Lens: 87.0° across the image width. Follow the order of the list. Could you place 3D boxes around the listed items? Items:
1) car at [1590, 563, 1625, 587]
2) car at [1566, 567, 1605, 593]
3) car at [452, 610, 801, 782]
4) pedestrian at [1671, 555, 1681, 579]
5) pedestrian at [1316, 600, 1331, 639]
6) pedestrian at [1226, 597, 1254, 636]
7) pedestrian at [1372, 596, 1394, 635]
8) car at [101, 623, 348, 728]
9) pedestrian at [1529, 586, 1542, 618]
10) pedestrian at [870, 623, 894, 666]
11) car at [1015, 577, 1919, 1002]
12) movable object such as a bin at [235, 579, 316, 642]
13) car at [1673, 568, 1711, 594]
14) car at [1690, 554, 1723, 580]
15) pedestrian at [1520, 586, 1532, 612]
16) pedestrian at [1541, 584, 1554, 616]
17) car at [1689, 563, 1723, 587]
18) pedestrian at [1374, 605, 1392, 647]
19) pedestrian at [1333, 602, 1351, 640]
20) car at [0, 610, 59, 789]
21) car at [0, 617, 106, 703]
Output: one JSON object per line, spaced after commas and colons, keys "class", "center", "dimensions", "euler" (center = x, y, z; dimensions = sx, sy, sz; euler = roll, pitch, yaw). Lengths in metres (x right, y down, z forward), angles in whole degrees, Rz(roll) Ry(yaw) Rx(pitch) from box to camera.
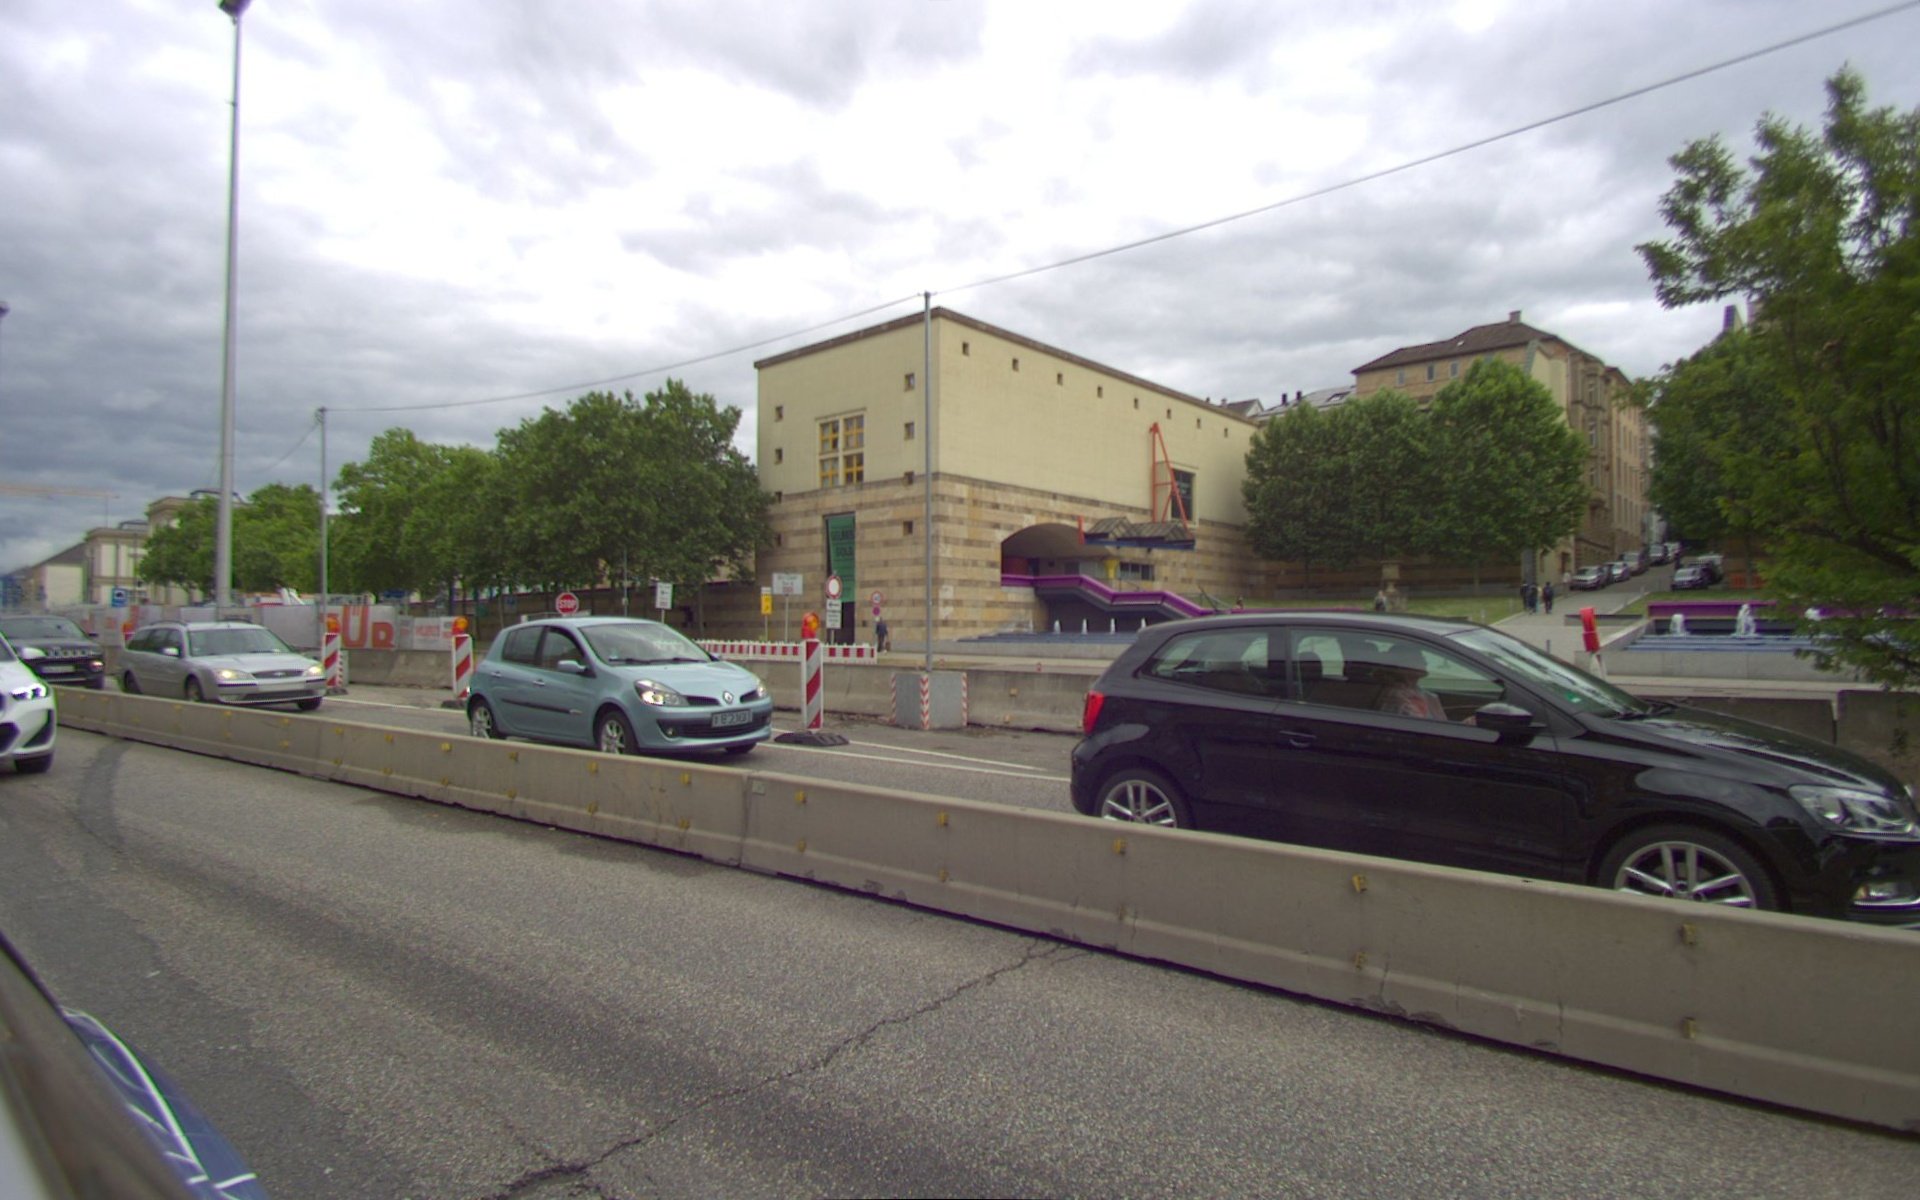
{"class": "car", "center": [50.943, -1.940, 79.583], "dimensions": [1.610, 1.811, 3.753], "euler": [-2, -1, 43]}
{"class": "car", "center": [45.678, -1.443, 73.895], "dimensions": [1.611, 1.811, 3.752], "euler": [-2, -1, 45]}
{"class": "car", "center": [-3.656, 0.887, 10.819], "dimensions": [3.847, 1.518, 1.657], "euler": [-1, -1, 37]}
{"class": "pedestrian", "center": [53.713, -2.458, 75.907], "dimensions": [0.542, 1.798, 0.460], "euler": [-1, -1, 45]}
{"class": "pedestrian", "center": [16.138, 0.877, 44.916], "dimensions": [0.526, 1.708, 0.338], "euler": [-1, -1, 42]}
{"class": "pedestrian", "center": [14.828, 0.847, 53.556], "dimensions": [0.907, 2.029, 1.094], "euler": [-1, 0, -44]}
{"class": "pedestrian", "center": [20.609, 0.749, 49.323], "dimensions": [0.804, 1.867, 0.684], "euler": [-1, 0, 43]}
{"class": "car", "center": [-12.248, 1.144, 16.764], "dimensions": [4.692, 1.492, 1.863], "euler": [-1, -1, 34]}
{"class": "pedestrian", "center": [31.270, 0.108, 55.004], "dimensions": [0.477, 1.762, 0.638], "euler": [-1, -1, 40]}
{"class": "pedestrian", "center": [-3.791, 2.148, 49.122], "dimensions": [0.815, 2.029, 0.836], "euler": [-1, 0, 42]}
{"class": "car", "center": [2.469, 0.683, 5.208], "dimensions": [4.192, 1.465, 1.643], "euler": [-1, -1, 38]}
{"class": "movable object such as a bin", "center": [-25.217, 0.422, 37.254], "dimensions": [3.287, 2.202, 1.507], "euler": [-2, -2, 37]}
{"class": "car", "center": [46.862, -1.218, 64.784], "dimensions": [1.610, 1.548, 3.756], "euler": [-1, 0, 41]}
{"class": "car", "center": [55.282, -2.410, 74.936], "dimensions": [1.610, 1.811, 3.756], "euler": [-1, 0, 41]}
{"class": "pedestrian", "center": [31.992, -0.067, 57.191], "dimensions": [0.477, 1.433, 0.399], "euler": [-1, -1, 40]}
{"class": "pedestrian", "center": [31.746, 0.003, 54.656], "dimensions": [0.477, 1.762, 0.638], "euler": [-1, -1, 40]}
{"class": "car", "center": [51.207, -1.716, 69.446], "dimensions": [1.610, 1.548, 3.756], "euler": [-1, 0, 41]}
{"class": "pedestrian", "center": [17.212, 1.059, 41.166], "dimensions": [0.521, 1.708, 0.696], "euler": [-1, -1, 11]}
{"class": "pedestrian", "center": [17.137, 0.940, 45.452], "dimensions": [0.526, 1.708, 0.689], "euler": [-1, -1, 41]}
{"class": "car", "center": [-11.047, 0.942, 10.362], "dimensions": [4.899, 1.640, 1.834], "euler": [-1, -1, 37]}
{"class": "car", "center": [-19.492, 1.174, 21.091], "dimensions": [4.040, 1.633, 1.759], "euler": [-1, -1, 37]}
